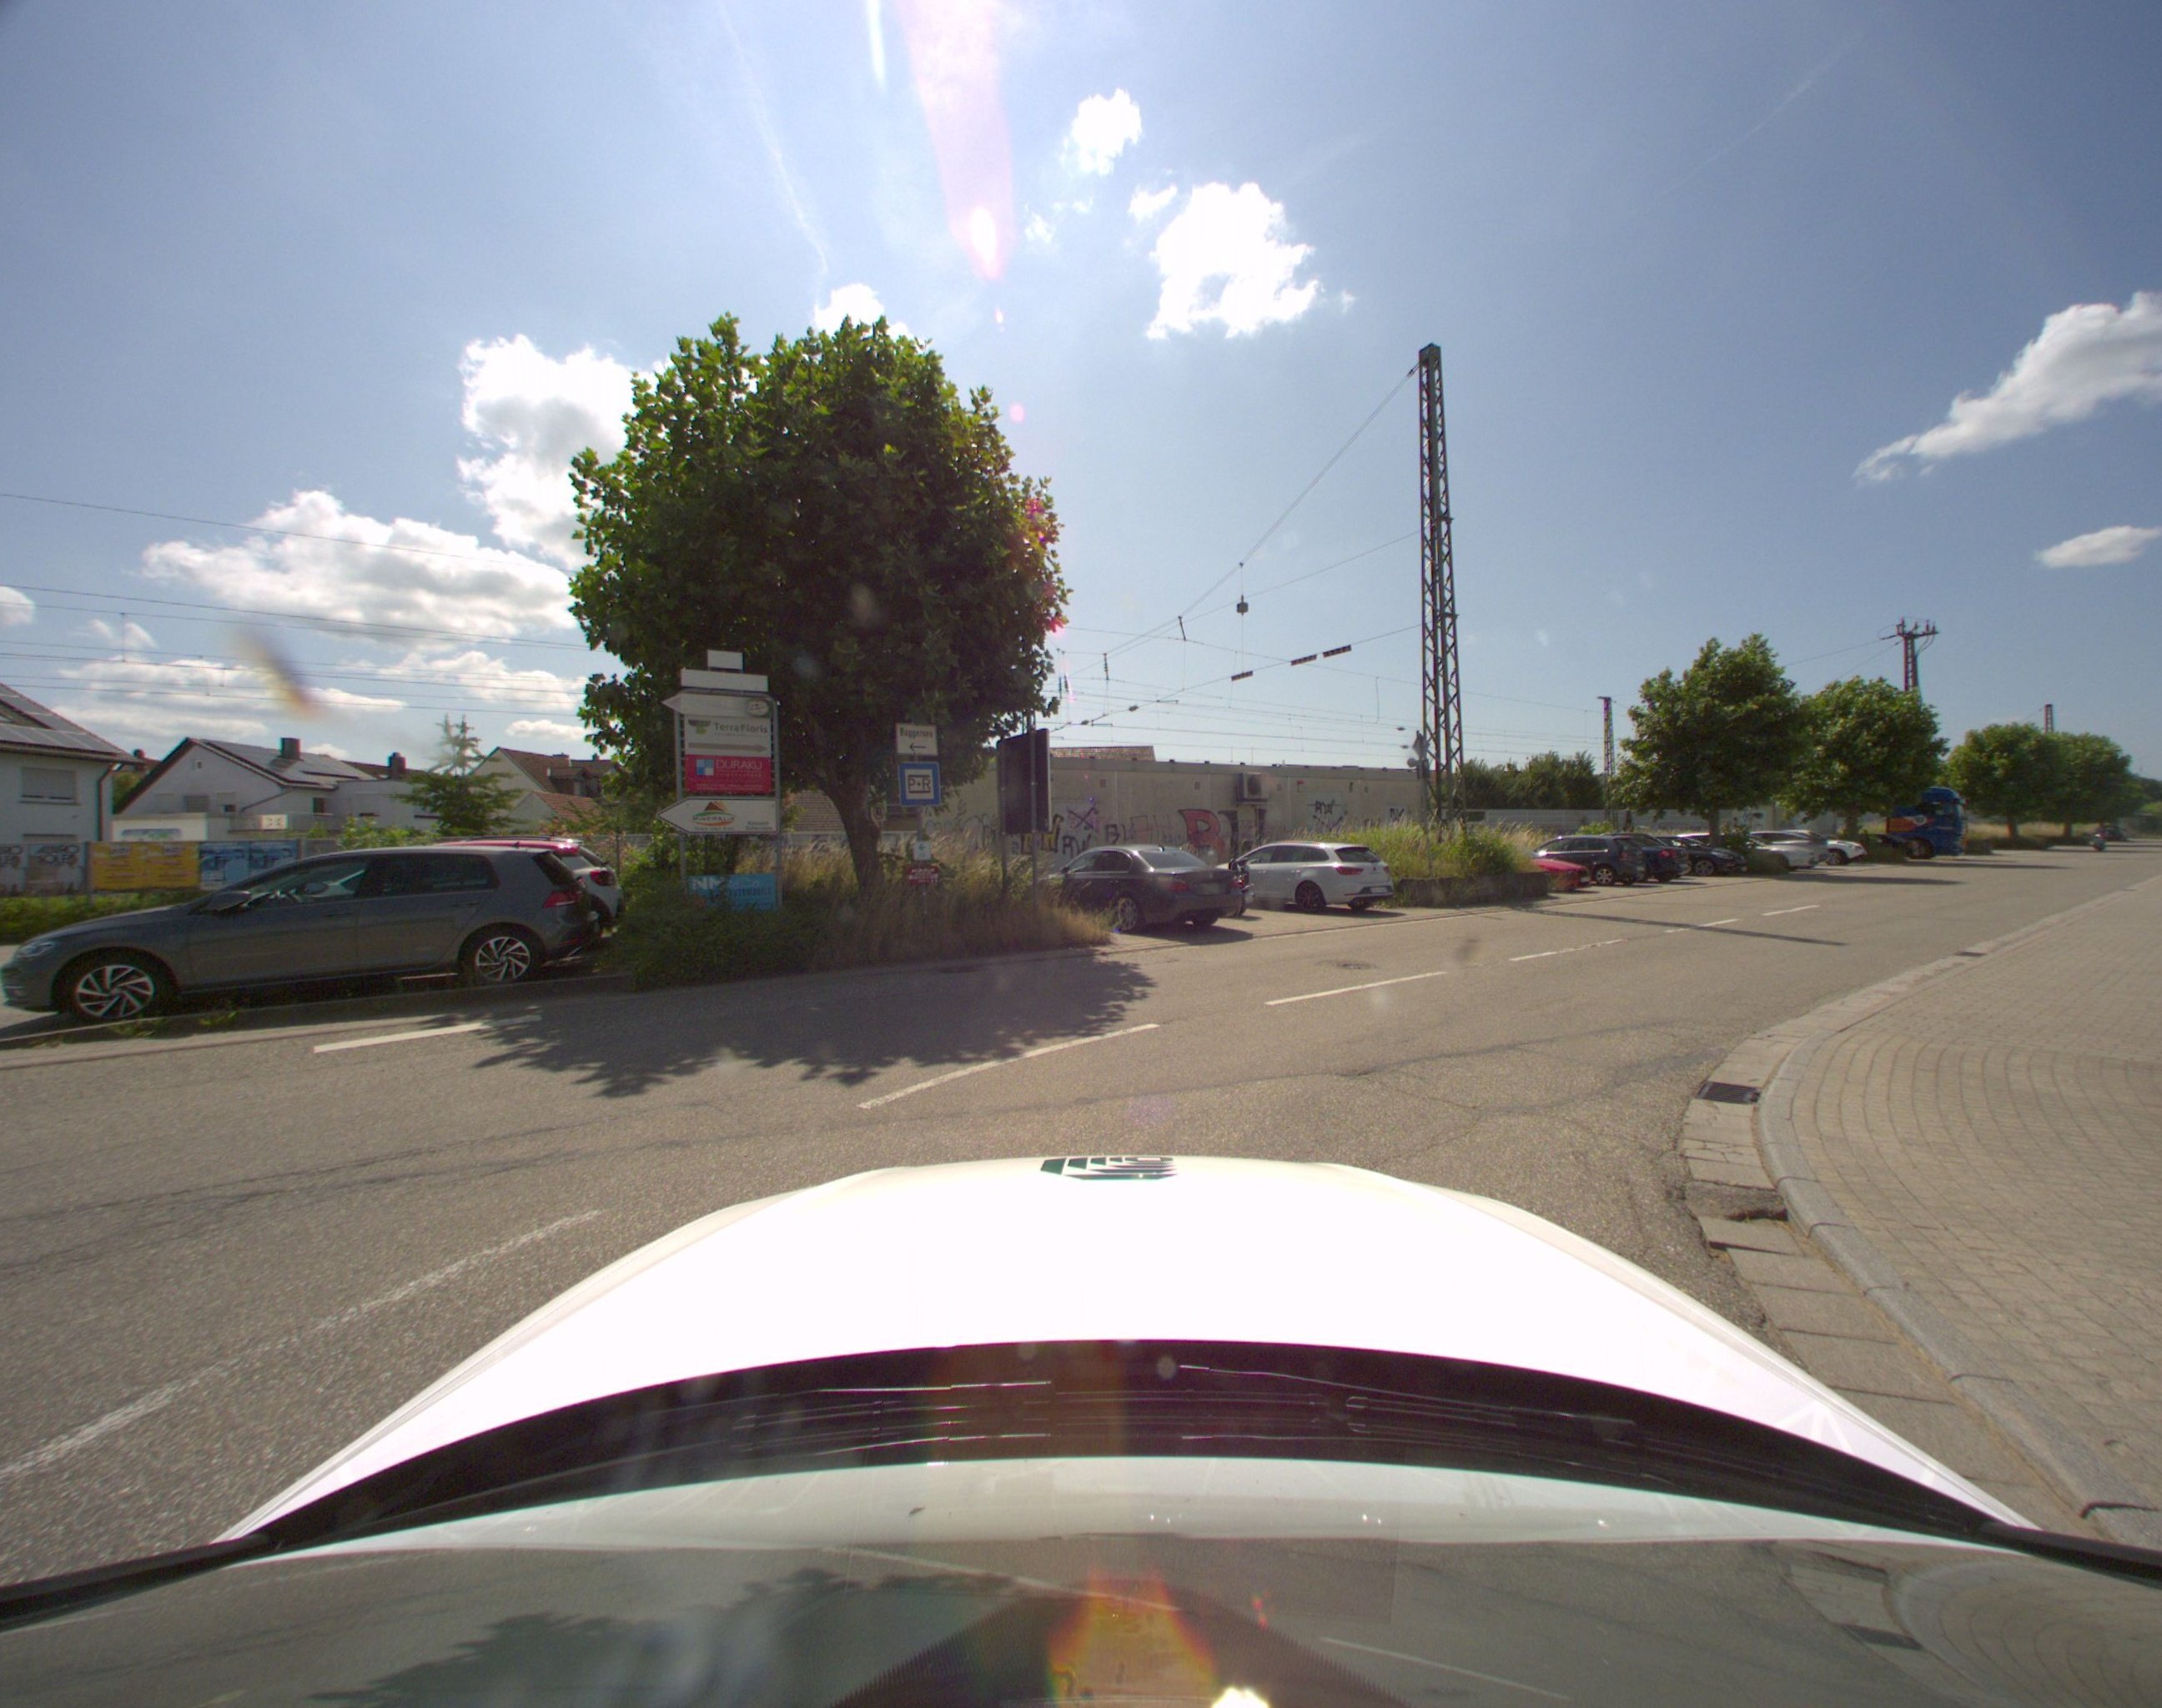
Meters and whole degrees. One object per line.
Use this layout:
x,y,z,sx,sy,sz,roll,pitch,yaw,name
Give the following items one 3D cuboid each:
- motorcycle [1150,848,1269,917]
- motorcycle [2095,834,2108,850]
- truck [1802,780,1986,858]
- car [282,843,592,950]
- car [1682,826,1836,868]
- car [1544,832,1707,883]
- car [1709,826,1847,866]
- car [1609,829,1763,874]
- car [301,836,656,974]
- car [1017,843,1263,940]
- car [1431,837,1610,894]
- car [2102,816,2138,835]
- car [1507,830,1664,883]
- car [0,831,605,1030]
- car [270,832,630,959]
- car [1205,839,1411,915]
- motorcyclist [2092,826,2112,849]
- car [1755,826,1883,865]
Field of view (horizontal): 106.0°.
2.540,0.543,16.532,0.721,1.281,2.704,-1,0,-34,motorcycle
67.978,-0.800,54.254,1.964,1.050,0.459,-1,1,-36,motorcycle
43.470,-1.743,43.749,2.675,3.823,6.564,-2,0,-34,truck
-11.438,0.676,14.907,4.096,1.637,1.982,-2,0,-28,car
26.558,-0.294,32.032,1.934,1.532,4.307,-2,2,-33,car
17.070,0.096,25.727,1.791,1.450,3.922,-1,1,-28,car
28.713,-0.348,33.641,2.008,1.547,3.957,-1,1,-35,car
21.549,-0.078,29.168,1.793,1.472,4.045,-1,0,-32,car
-7.836,0.581,11.069,3.586,1.537,1.781,-2,0,-27,car
0.859,0.575,14.319,1.796,1.410,4.390,-2,0,-38,car
12.039,0.245,22.551,1.680,1.368,4.045,-3,2,-32,car
94.147,-2.599,73.782,3.593,1.596,1.729,-2,1,-34,car
15.030,0.021,24.432,1.691,1.447,3.639,-2,2,-34,car
-7.224,0.593,8.170,4.071,1.530,1.676,-2,0,-27,car
-9.475,0.541,12.753,4.095,1.637,1.983,-2,0,-27,car
4.724,0.398,17.474,1.794,1.401,4.043,-2,2,-35,car
68.105,-1.111,54.333,0.925,1.509,0.770,-1,1,-35,motorcyclist
33.054,-0.375,36.560,1.859,1.618,3.939,-2,1,-36,car
